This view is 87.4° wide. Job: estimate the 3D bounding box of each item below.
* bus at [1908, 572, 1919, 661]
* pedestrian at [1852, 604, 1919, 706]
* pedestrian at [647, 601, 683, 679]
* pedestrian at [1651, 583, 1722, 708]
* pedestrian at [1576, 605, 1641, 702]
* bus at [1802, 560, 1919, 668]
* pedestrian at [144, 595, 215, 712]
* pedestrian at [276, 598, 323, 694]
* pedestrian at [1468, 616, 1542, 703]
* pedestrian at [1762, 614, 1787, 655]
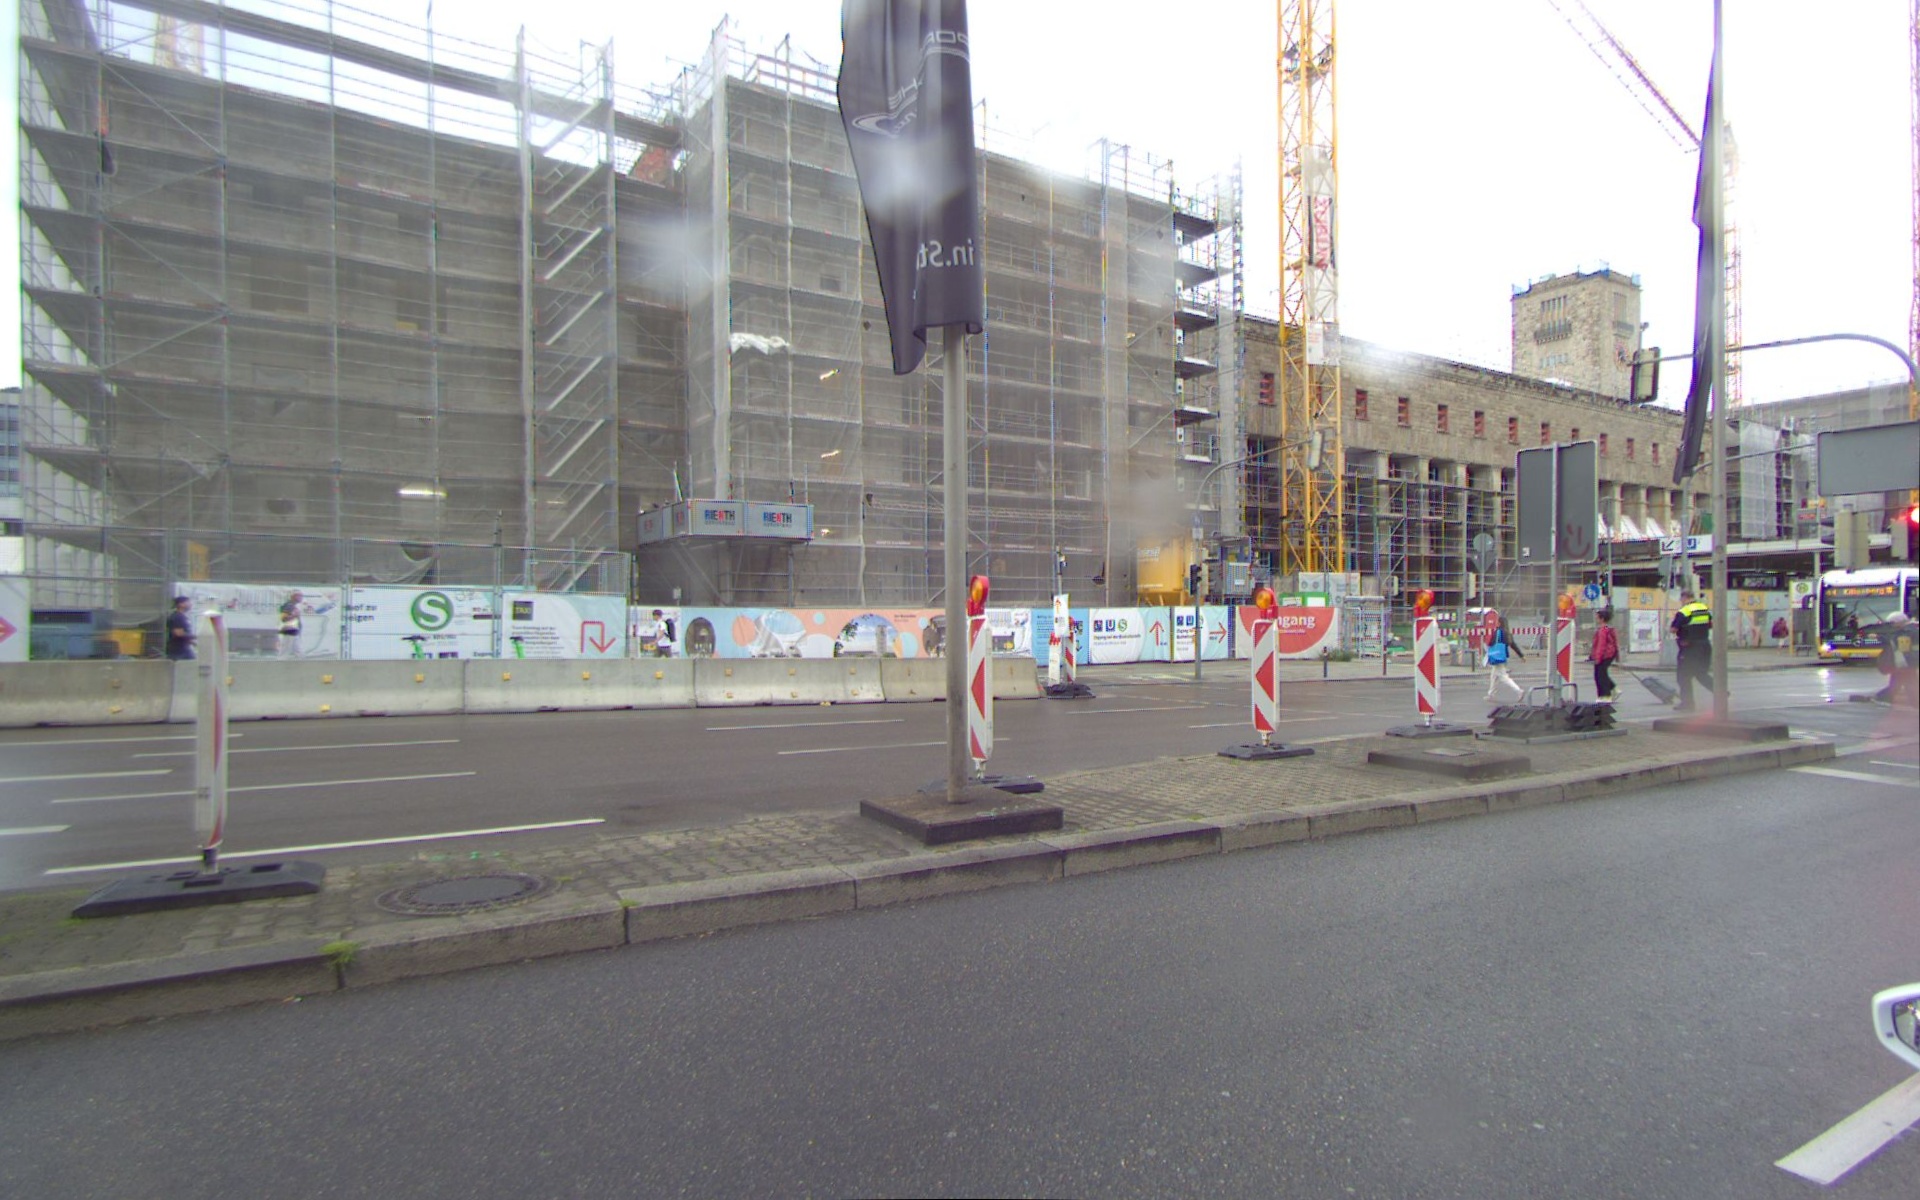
[{"bbox_3d":[44.106,0.816,42.802,10.092,3.650,2.655,2,0,-30],"label":"bus"},{"bbox_3d":[15.038,0.875,16.223,0.862,1.581,0.784,2,0,39],"label":"pedestrian"},{"bbox_3d":[-7.185,0.975,24.447,0.709,1.860,0.478,1,0,-30],"label":"pedestrian"},{"bbox_3d":[11.115,0.682,15.369,0.810,1.860,0.575,1,0,-30],"label":"pedestrian"},{"bbox_3d":[11.876,0.971,18.407,0.613,1.740,0.794,1,-2,-33],"label":"pedestrian"},{"bbox_3d":[35.448,0.568,37.671,10.119,3.650,2.655,2,0,-30],"label":"bus"},{"bbox_3d":[-12.764,0.858,16.449,0.810,1.860,0.575,1,0,-30],"label":"pedestrian"},{"bbox_3d":[-13.044,0.906,19.858,0.709,1.860,0.478,1,0,-30],"label":"pedestrian"},{"bbox_3d":[10.492,1.126,19.338,0.890,1.584,0.909,1,0,-33],"label":"pedestrian"},{"bbox_3d":[38.045,1.607,46.914,0.789,1.879,0.658,1,-1,-30],"label":"pedestrian"}]
